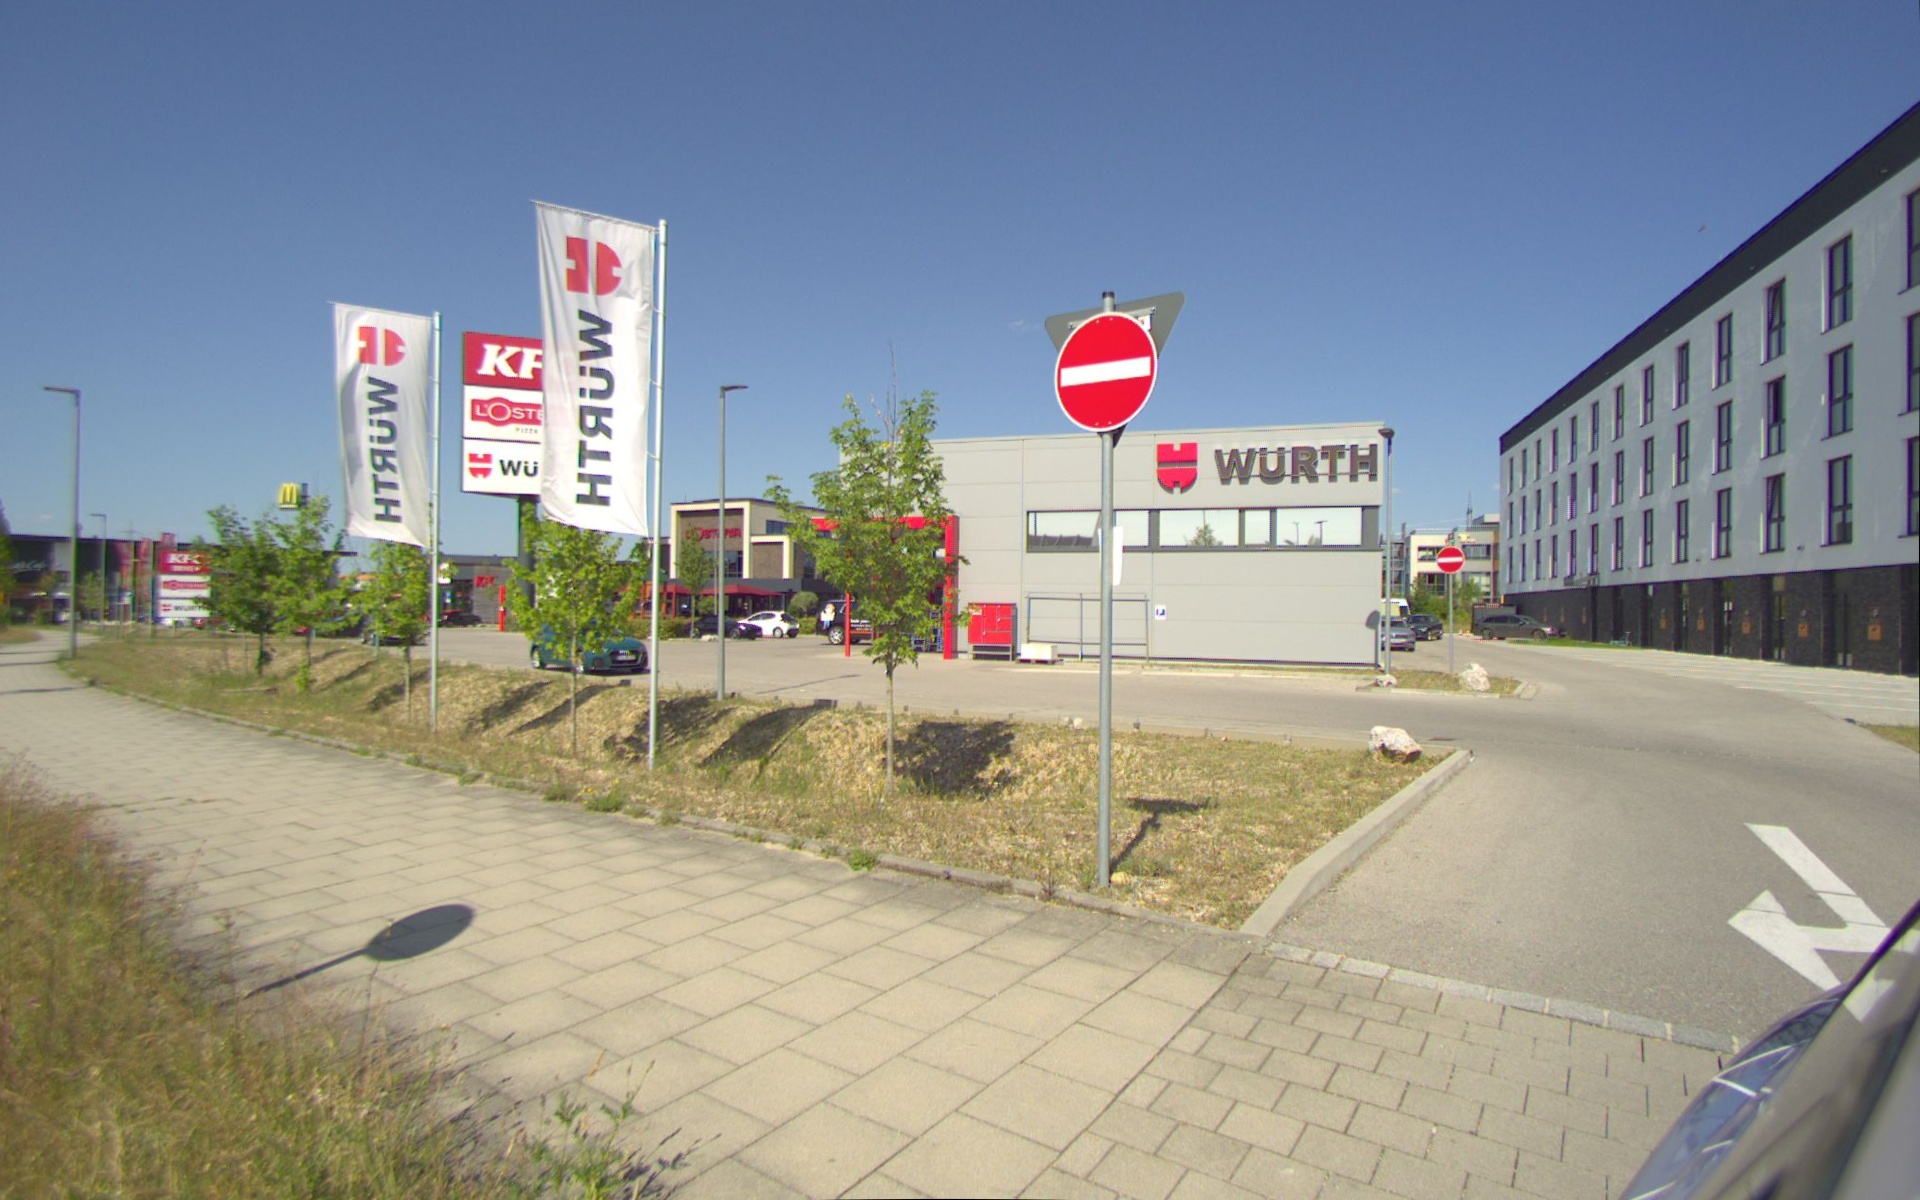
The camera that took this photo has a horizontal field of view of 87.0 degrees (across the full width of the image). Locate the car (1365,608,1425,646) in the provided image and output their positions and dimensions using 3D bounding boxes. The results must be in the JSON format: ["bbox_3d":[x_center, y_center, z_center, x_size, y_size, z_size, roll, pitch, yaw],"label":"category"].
[{"bbox_3d":[18.525,1.126,43.289,1.853,1.527,3.979,0,-1,16],"label":"car"}]

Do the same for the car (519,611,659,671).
[{"bbox_3d":[-9.920,1.035,26.928,4.212,1.468,1.817,-1,-1,43],"label":"car"}]

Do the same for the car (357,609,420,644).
[{"bbox_3d":[-25.654,1.150,45.362,1.844,1.484,4.360,1,-1,-38],"label":"car"}]

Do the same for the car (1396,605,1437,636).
[{"bbox_3d":[25.520,1.104,56.639,1.697,1.638,3.975,0,0,19],"label":"car"}]

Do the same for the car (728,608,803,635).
[{"bbox_3d":[-11.026,1.217,57.337,3.869,1.493,1.789,0,-1,23],"label":"car"}]

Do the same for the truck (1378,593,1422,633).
[{"bbox_3d":[27.752,0.834,64.030,1.973,2.407,5.855,0,-1,18],"label":"truck"}]

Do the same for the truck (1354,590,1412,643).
[{"bbox_3d":[20.651,0.789,49.579,2.096,2.407,5.855,0,-1,18],"label":"truck"}]

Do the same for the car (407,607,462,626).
[{"bbox_3d":[-46.624,1.457,89.879,1.862,1.586,4.054,0,-1,29],"label":"car"}]

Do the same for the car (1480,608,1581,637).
[{"bbox_3d":[31.455,1.188,55.923,1.844,1.527,4.524,1,-1,-35],"label":"car"}]

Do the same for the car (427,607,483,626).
[{"bbox_3d":[-44.206,1.407,88.667,1.862,1.586,4.054,0,-1,29],"label":"car"}]

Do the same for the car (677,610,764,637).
[{"bbox_3d":[-12.486,1.212,52.728,4.098,1.355,1.820,0,-1,18],"label":"car"}]
